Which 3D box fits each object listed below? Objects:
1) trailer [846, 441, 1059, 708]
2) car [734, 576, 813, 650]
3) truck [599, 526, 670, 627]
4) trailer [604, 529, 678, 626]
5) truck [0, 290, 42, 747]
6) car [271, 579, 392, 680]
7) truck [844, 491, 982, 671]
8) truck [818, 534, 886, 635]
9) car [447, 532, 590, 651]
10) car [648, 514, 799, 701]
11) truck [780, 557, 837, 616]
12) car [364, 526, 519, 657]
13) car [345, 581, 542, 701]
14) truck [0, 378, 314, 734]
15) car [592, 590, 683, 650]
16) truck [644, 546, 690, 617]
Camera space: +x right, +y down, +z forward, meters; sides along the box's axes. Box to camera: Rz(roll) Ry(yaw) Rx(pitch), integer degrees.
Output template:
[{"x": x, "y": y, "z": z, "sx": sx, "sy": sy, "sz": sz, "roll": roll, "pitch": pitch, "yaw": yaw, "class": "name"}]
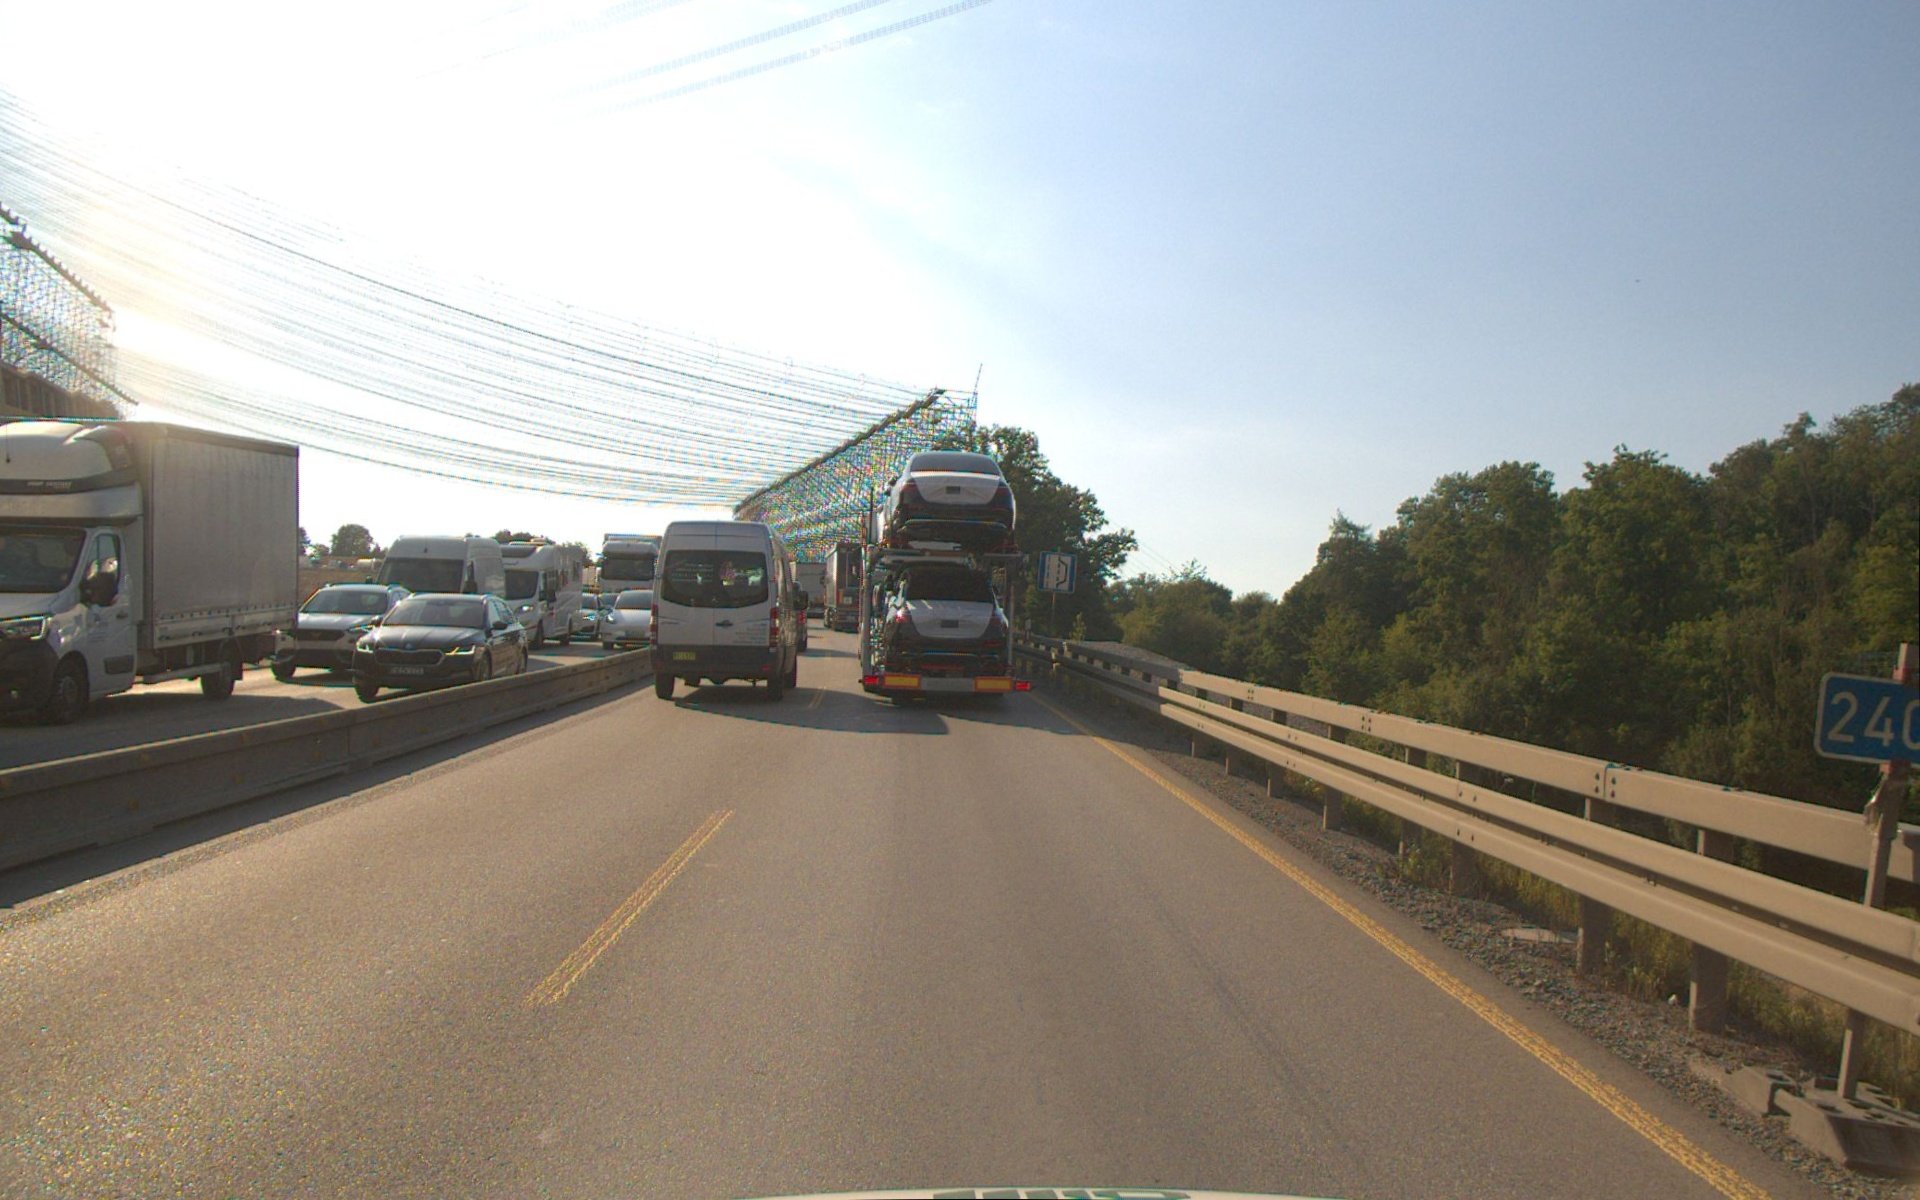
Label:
[{"x": -0.614, "y": -0.345, "z": 31.381, "sx": 2.813, "sy": 3.790, "sz": 14.932, "roll": 1, "pitch": 0, "yaw": -5, "class": "trailer"}, {"x": -5.467, "y": 0.384, "z": 48.860, "sx": 1.953, "sy": 2.049, "sz": 3.998, "roll": 2, "pitch": -1, "yaw": -2, "class": "car"}, {"x": -14.529, "y": -1.006, "z": 74.163, "sx": 2.662, "sy": 4.292, "sz": 5.672, "roll": 2, "pitch": 0, "yaw": -8, "class": "truck"}, {"x": -15.442, "y": -1.006, "z": 80.934, "sx": 2.670, "sy": 4.291, "sz": 13.724, "roll": 2, "pitch": 0, "yaw": -8, "class": "trailer"}, {"x": -9.837, "y": -0.791, "z": 8.628, "sx": 2.653, "sy": 4.160, "sz": 14.146, "roll": 1, "pitch": 0, "yaw": -2, "class": "truck"}, {"x": -10.598, "y": 0.456, "z": 28.030, "sx": 1.737, "sy": 1.550, "sz": 3.979, "roll": 2, "pitch": 0, "yaw": -20, "class": "car"}, {"x": -1.257, "y": -0.388, "z": 38.992, "sx": 2.825, "sy": 3.767, "sz": 7.318, "roll": 1, "pitch": 0, "yaw": -4, "class": "truck"}, {"x": -5.372, "y": -0.761, "z": 80.707, "sx": 2.680, "sy": 4.462, "sz": 11.506, "roll": 3, "pitch": 0, "yaw": -6, "class": "truck"}, {"x": -11.974, "y": -0.173, "z": 45.471, "sx": 2.288, "sy": 2.969, "sz": 7.626, "roll": 1, "pitch": -1, "yaw": -4, "class": "car"}, {"x": -3.606, "y": 0.127, "z": 25.881, "sx": 1.917, "sy": 2.667, "sz": 3.998, "roll": 1, "pitch": -1, "yaw": -2, "class": "car"}, {"x": -11.856, "y": -1.067, "z": 128.161, "sx": 3.618, "sy": 4.294, "sz": 13.642, "roll": -1, "pitch": 1, "yaw": -8, "class": "truck"}, {"x": -11.426, "y": -0.154, "z": 36.902, "sx": 1.918, "sy": 2.666, "sz": 5.744, "roll": 1, "pitch": -1, "yaw": -4, "class": "car"}, {"x": -7.449, "y": 0.557, "z": 24.268, "sx": 1.621, "sy": 1.550, "sz": 4.285, "roll": 2, "pitch": 0, "yaw": -2, "class": "car"}, {"x": -10.465, "y": -0.465, "z": 20.174, "sx": 2.398, "sy": 3.523, "sz": 7.613, "roll": 2, "pitch": 0, "yaw": -3, "class": "truck"}, {"x": -9.017, "y": 0.520, "z": 46.612, "sx": 2.018, "sy": 1.512, "sz": 4.722, "roll": -1, "pitch": 1, "yaw": -5, "class": "car"}, {"x": -18.885, "y": -1.145, "z": 106.823, "sx": 2.695, "sy": 4.375, "sz": 5.920, "roll": 2, "pitch": 0, "yaw": -9, "class": "truck"}]
